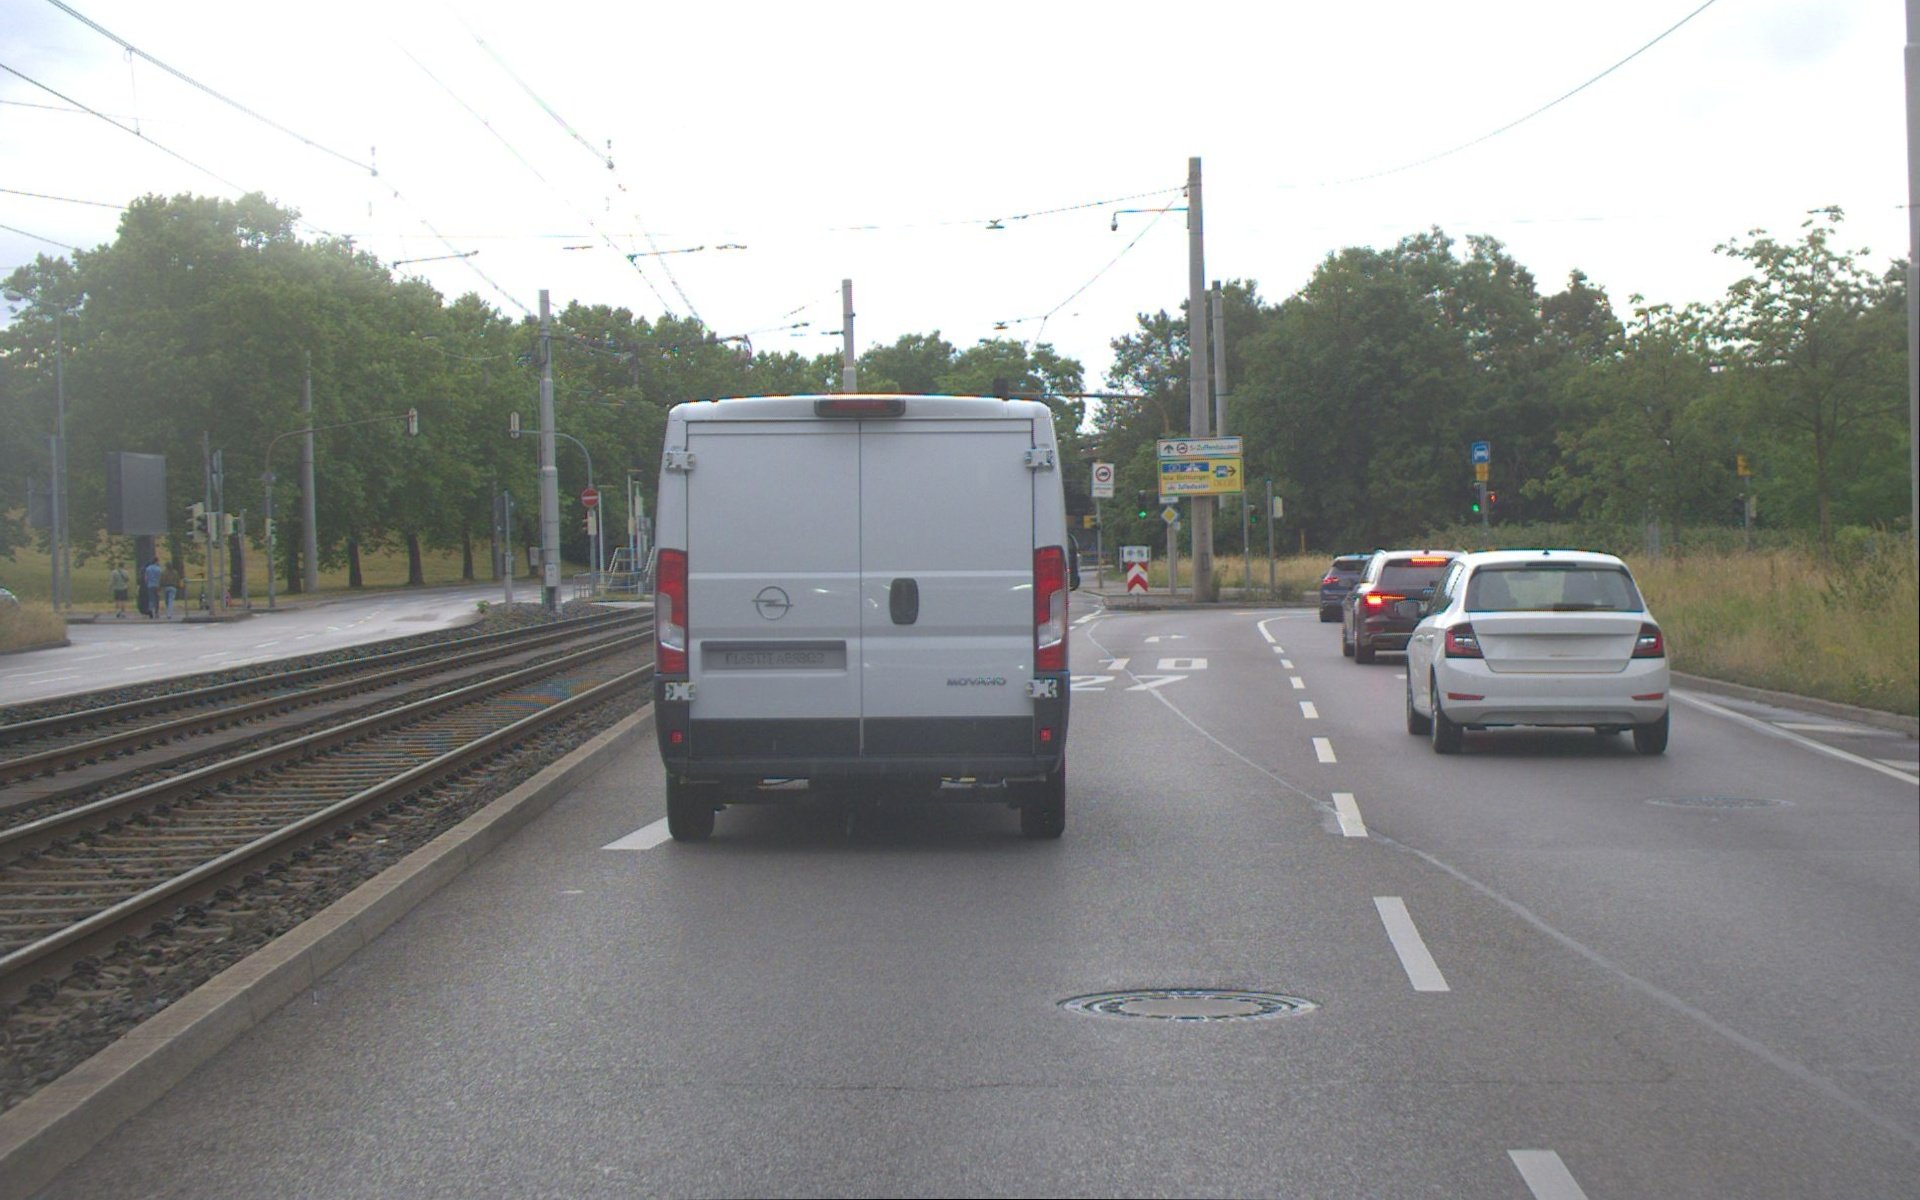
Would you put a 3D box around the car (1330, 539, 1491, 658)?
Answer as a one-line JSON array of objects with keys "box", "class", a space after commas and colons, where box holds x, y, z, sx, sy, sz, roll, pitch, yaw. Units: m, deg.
[{"box": [5.668, -0.040, 43.622, 1.789, 1.444, 3.999, 0, 1, 4], "class": "car"}]

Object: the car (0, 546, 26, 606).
[{"box": [-30.060, -0.700, 101.845, 4.624, 1.726, 1.996, 0, 2, 33], "class": "car"}]

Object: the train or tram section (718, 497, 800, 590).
[{"box": [-8.659, -2.444, 148.815, 2.928, 3.919, 7.005, 1, 1, 1], "class": "train or tram section"}]

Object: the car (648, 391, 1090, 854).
[{"box": [-0.450, 0.049, 18.886, 2.090, 2.189, 5.061, 0, 1, 0], "class": "car"}]

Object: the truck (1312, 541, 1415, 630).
[{"box": [8.749, -0.346, 74.796, 1.994, 1.784, 4.414, -2, 1, 4], "class": "truck"}]

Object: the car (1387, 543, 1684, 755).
[{"box": [4.214, 0.309, 25.676, 1.746, 1.452, 3.671, 0, 1, 3], "class": "car"}]

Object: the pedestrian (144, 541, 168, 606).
[{"box": [-24.260, -0.793, 103.722, 0.496, 1.949, 0.722, 1, 1, 4], "class": "pedestrian"}]

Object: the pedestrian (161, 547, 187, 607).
[{"box": [-23.688, -0.694, 103.597, 0.506, 1.781, 0.832, 1, 1, 4], "class": "pedestrian"}]
